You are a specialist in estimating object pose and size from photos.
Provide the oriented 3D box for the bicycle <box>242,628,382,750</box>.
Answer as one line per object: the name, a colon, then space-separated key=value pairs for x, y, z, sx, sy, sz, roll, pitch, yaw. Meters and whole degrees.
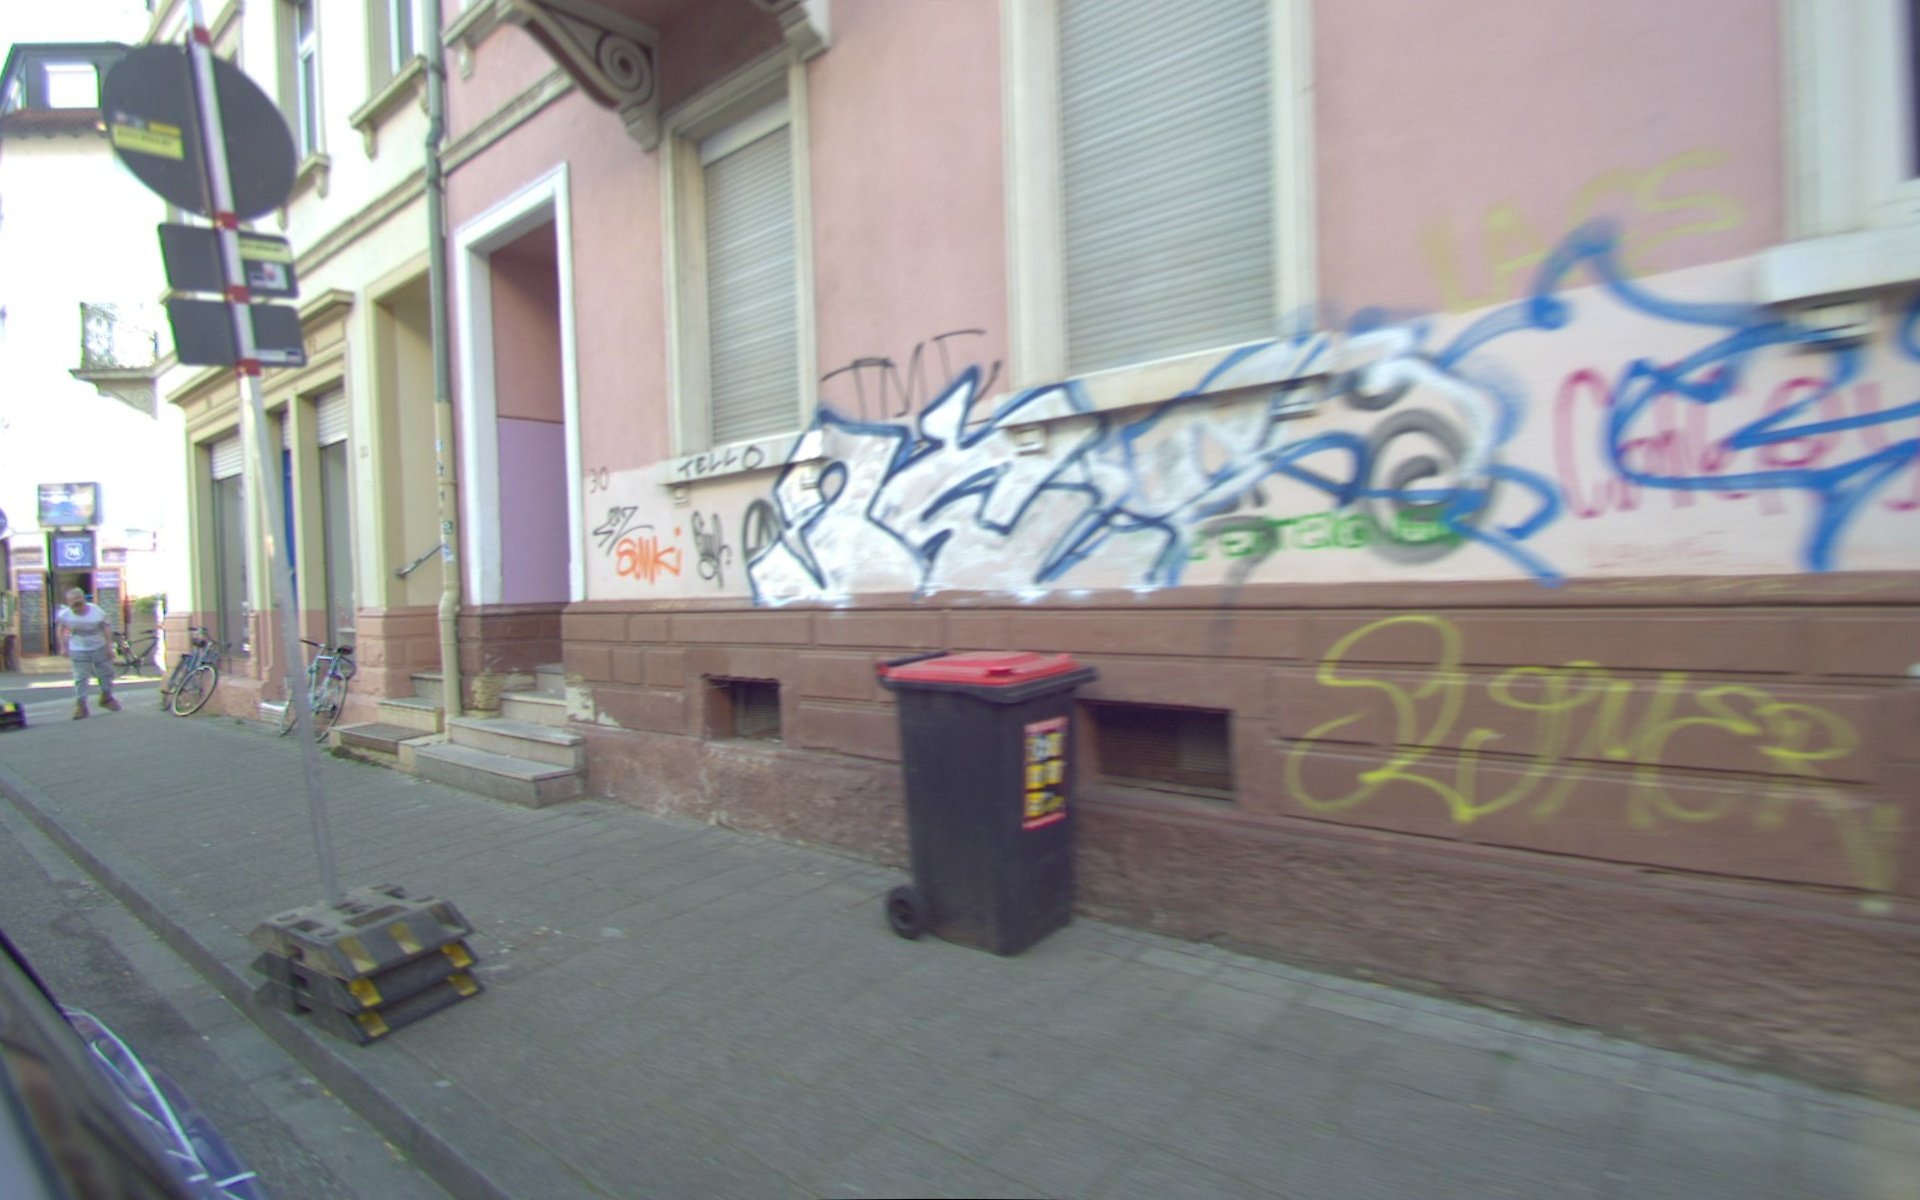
bicycle: x=-6.231 y=0.805 z=9.689 sx=1.817 sy=1.030 sz=0.616 roll=-2 pitch=2 yaw=42

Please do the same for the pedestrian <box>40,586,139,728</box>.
pedestrian: x=-11.295 y=0.728 z=13.133 sx=0.864 sy=1.713 sz=0.687 roll=-4 pitch=3 yaw=41

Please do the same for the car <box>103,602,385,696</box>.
car: x=-13.746 y=0.871 z=19.639 sx=1.756 sy=1.466 sz=4.100 roll=-2 pitch=1 yaw=38

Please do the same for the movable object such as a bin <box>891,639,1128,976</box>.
movable object such as a bin: x=0.187 y=0.692 z=3.704 sx=0.596 sy=1.043 sz=0.599 roll=-1 pitch=2 yaw=40

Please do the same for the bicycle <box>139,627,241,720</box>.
bicycle: x=-9.695 y=0.901 z=12.717 sx=1.817 sy=1.029 sz=0.597 roll=-3 pitch=4 yaw=42

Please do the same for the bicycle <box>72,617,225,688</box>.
bicycle: x=-17.688 y=1.103 z=22.117 sx=0.928 sy=1.369 sz=2.450 roll=-1 pitch=1 yaw=41
